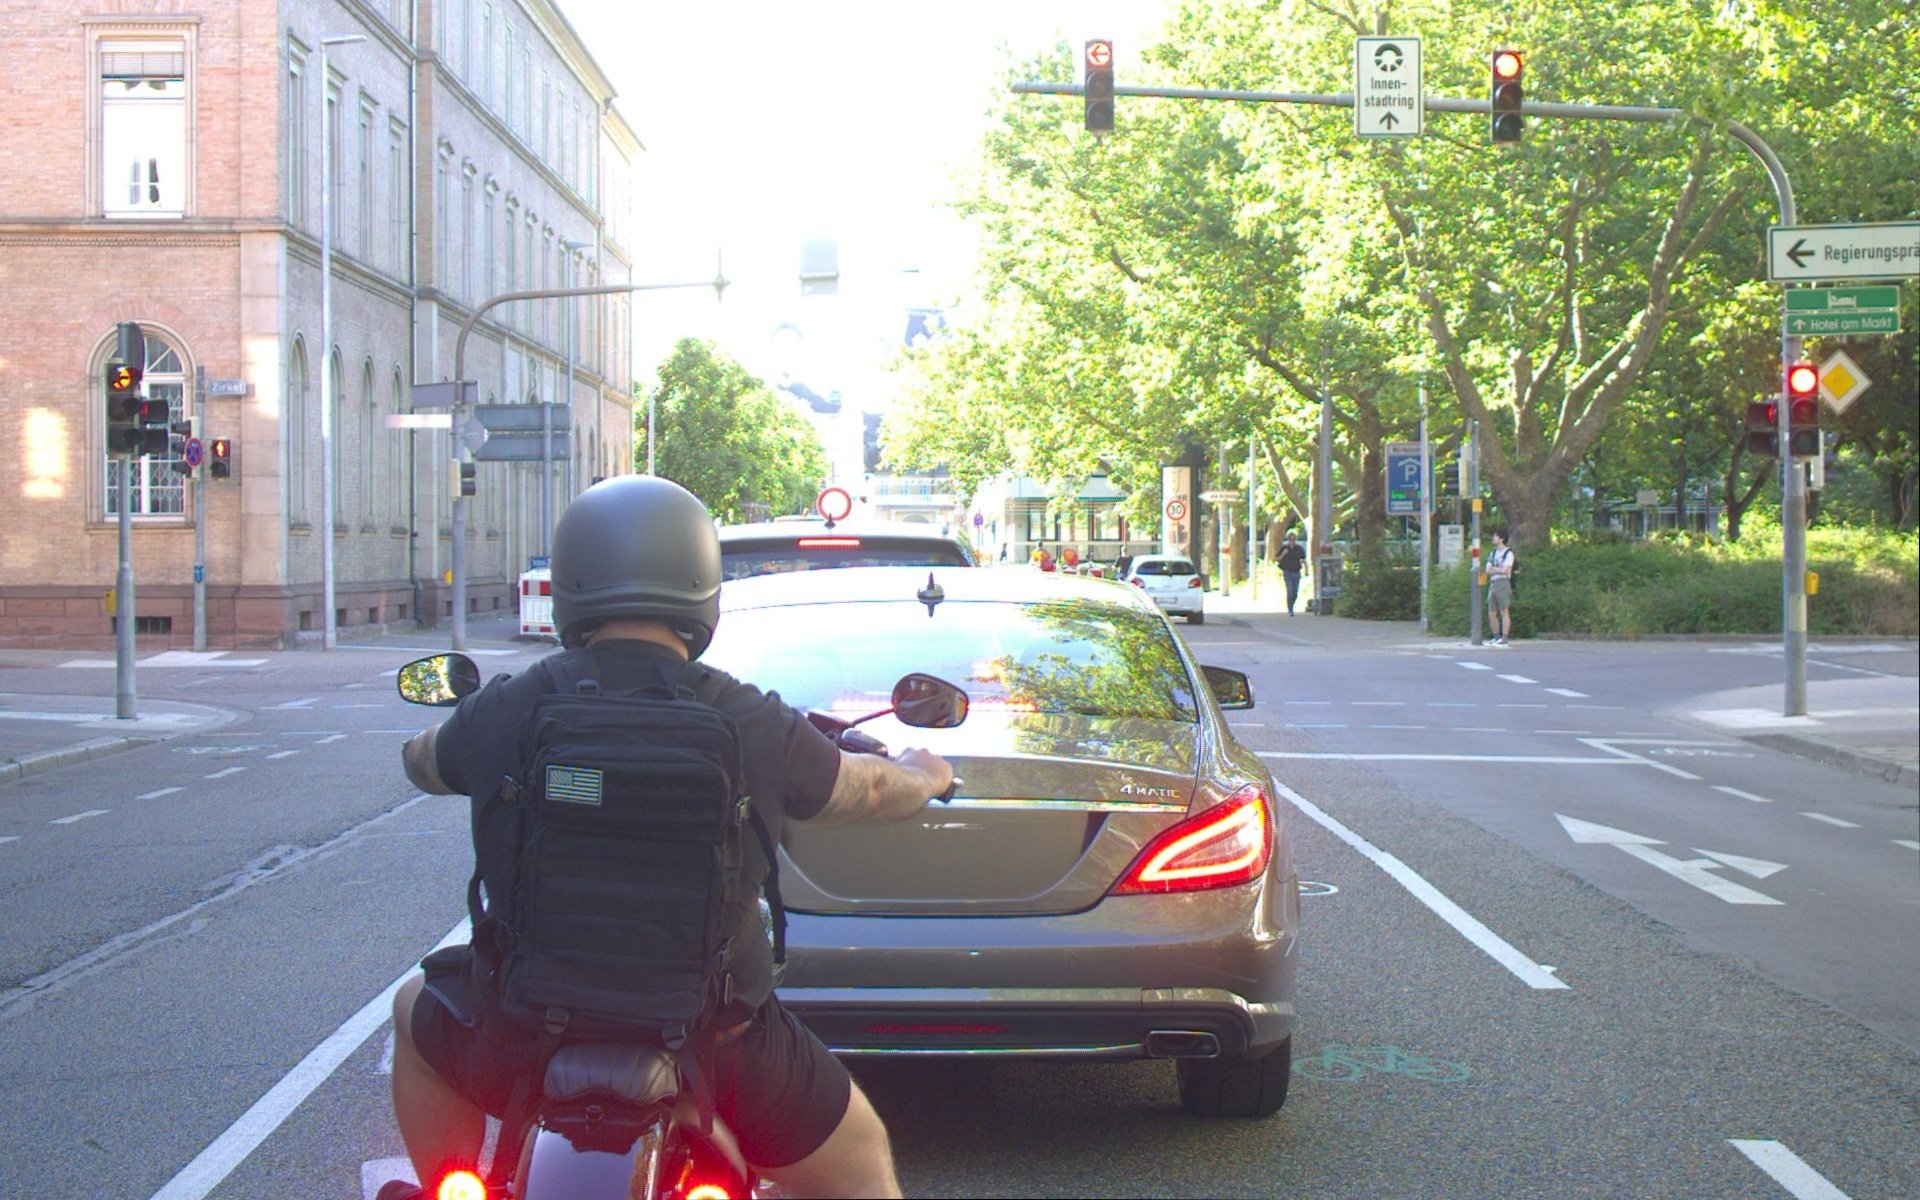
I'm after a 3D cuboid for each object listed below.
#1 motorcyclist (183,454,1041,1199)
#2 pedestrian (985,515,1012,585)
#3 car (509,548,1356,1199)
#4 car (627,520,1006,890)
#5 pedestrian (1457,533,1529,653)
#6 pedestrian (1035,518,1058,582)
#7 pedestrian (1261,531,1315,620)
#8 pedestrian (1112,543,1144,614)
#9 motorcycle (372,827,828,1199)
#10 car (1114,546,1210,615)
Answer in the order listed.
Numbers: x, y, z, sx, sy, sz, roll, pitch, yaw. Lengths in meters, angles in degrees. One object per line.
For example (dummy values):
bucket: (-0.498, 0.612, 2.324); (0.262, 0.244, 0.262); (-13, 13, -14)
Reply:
motorcyclist: (-0.483, 0.600, 5.310); (1.149, 1.593, 1.288); (1, 0, -1)
pedestrian: (1.123, -1.457, 100.901); (0.764, 2.044, 0.712); (1, 0, -1)
car: (-0.084, 0.599, 9.634); (1.882, 1.444, 3.820); (1, 1, -1)
car: (-0.638, 0.414, 16.750); (1.621, 1.588, 4.000); (0, 1, -1)
pedestrian: (8.208, -0.115, 52.968); (1.002, 1.820, 1.076); (1, 0, 6)
pedestrian: (2.760, -1.595, 109.377); (0.656, 2.007, 0.933); (1, 0, -1)
pedestrian: (7.081, -0.539, 74.227); (0.749, 1.903, 0.926); (1, 0, -28)
pedestrian: (4.808, -0.607, 98.479); (0.814, 2.007, 1.271); (1, 0, -1)
motorcycle: (-0.496, 0.931, 5.323); (0.513, 0.999, 2.013); (1, 1, -1)
car: (4.318, -0.434, 73.940); (1.776, 1.423, 3.802); (0, 1, -1)
